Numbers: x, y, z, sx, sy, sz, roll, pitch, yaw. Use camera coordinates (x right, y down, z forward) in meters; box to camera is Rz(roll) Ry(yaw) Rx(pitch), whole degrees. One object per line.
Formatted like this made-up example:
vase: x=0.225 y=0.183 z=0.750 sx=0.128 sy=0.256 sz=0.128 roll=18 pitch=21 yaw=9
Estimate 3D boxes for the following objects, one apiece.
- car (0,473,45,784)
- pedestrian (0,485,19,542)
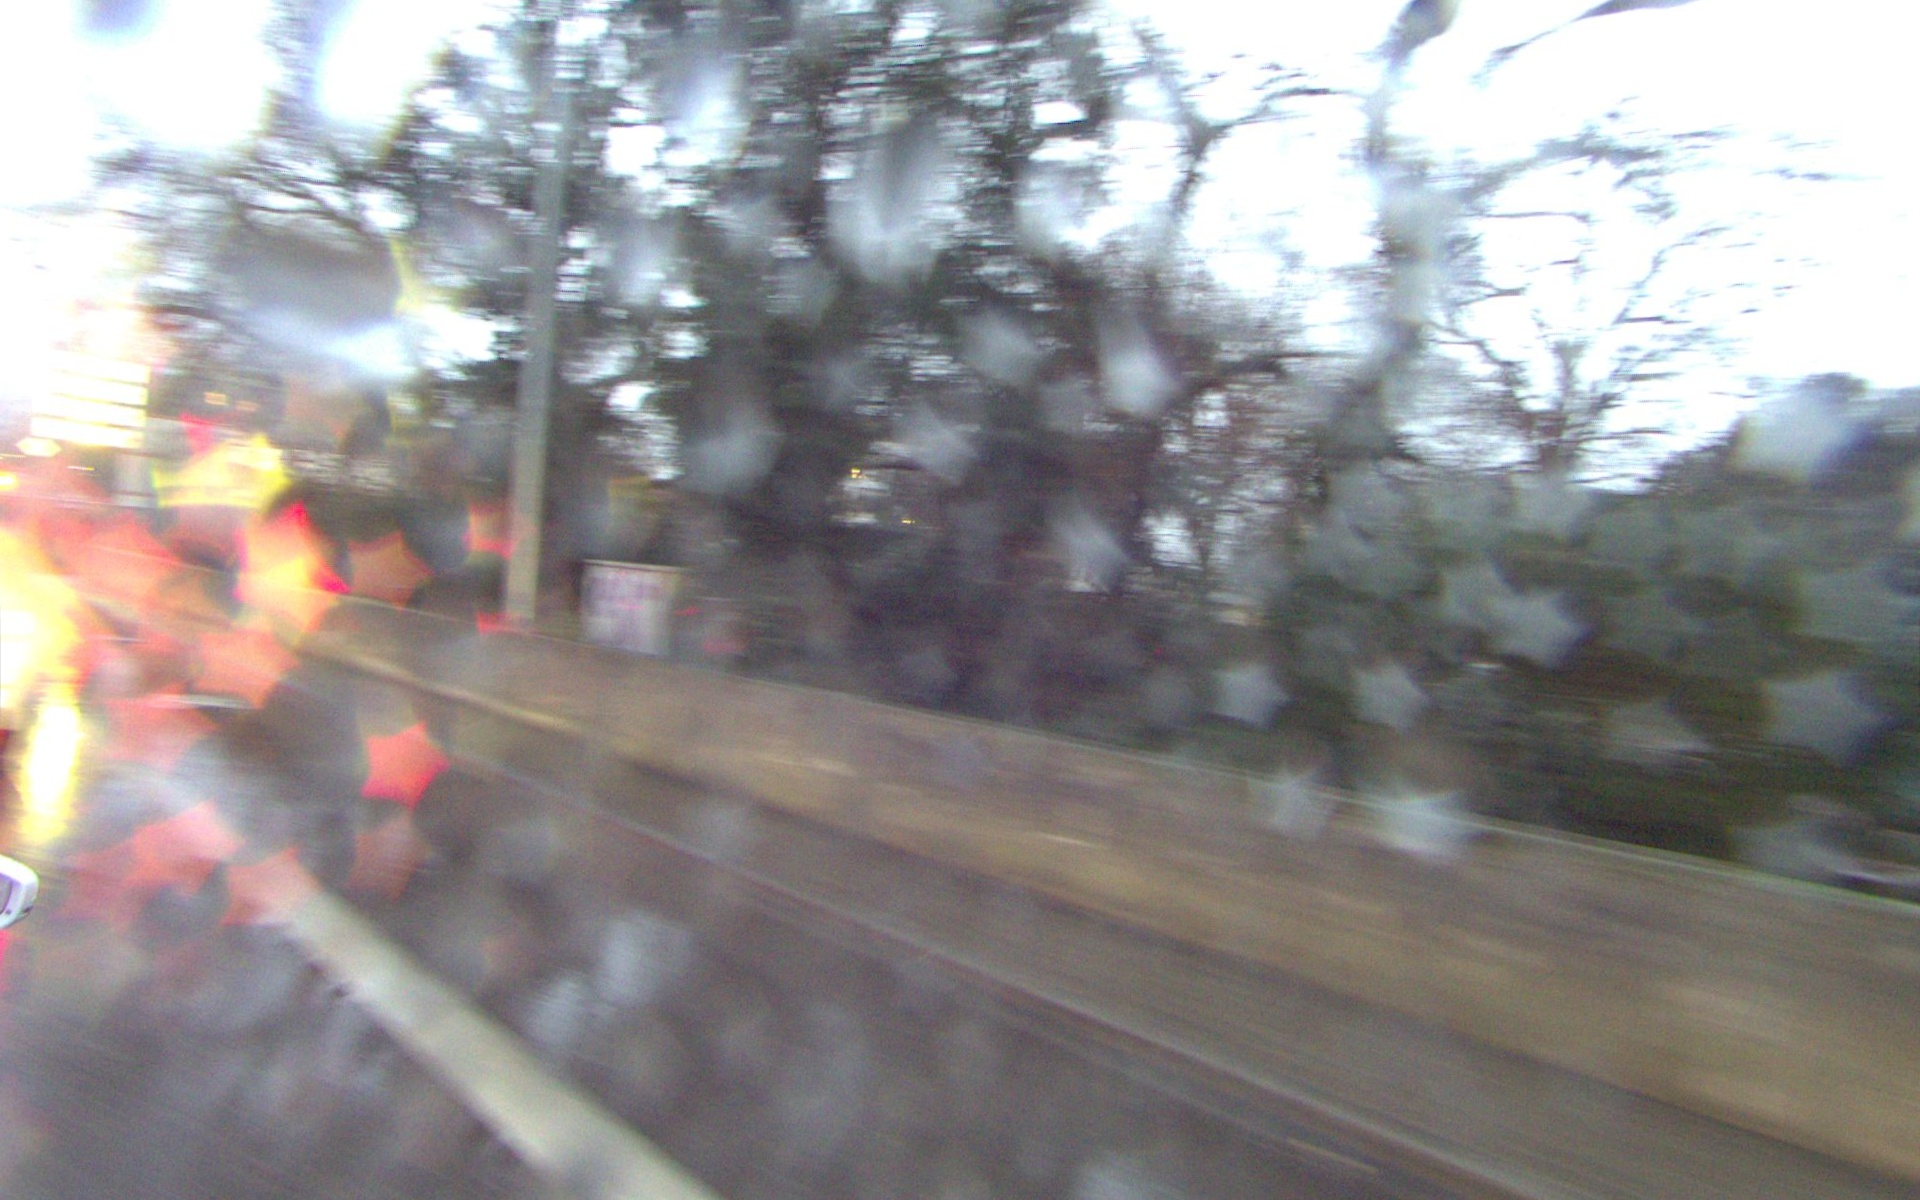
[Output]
car: x=-7.190 y=-0.082 z=6.078 sx=4.869 sy=1.575 sz=1.859 roll=6 pitch=0 yaw=41
pedestrian: x=-35.763 y=-3.259 z=37.198 sx=0.989 sy=2.039 sz=0.961 roll=6 pitch=1 yaw=19
